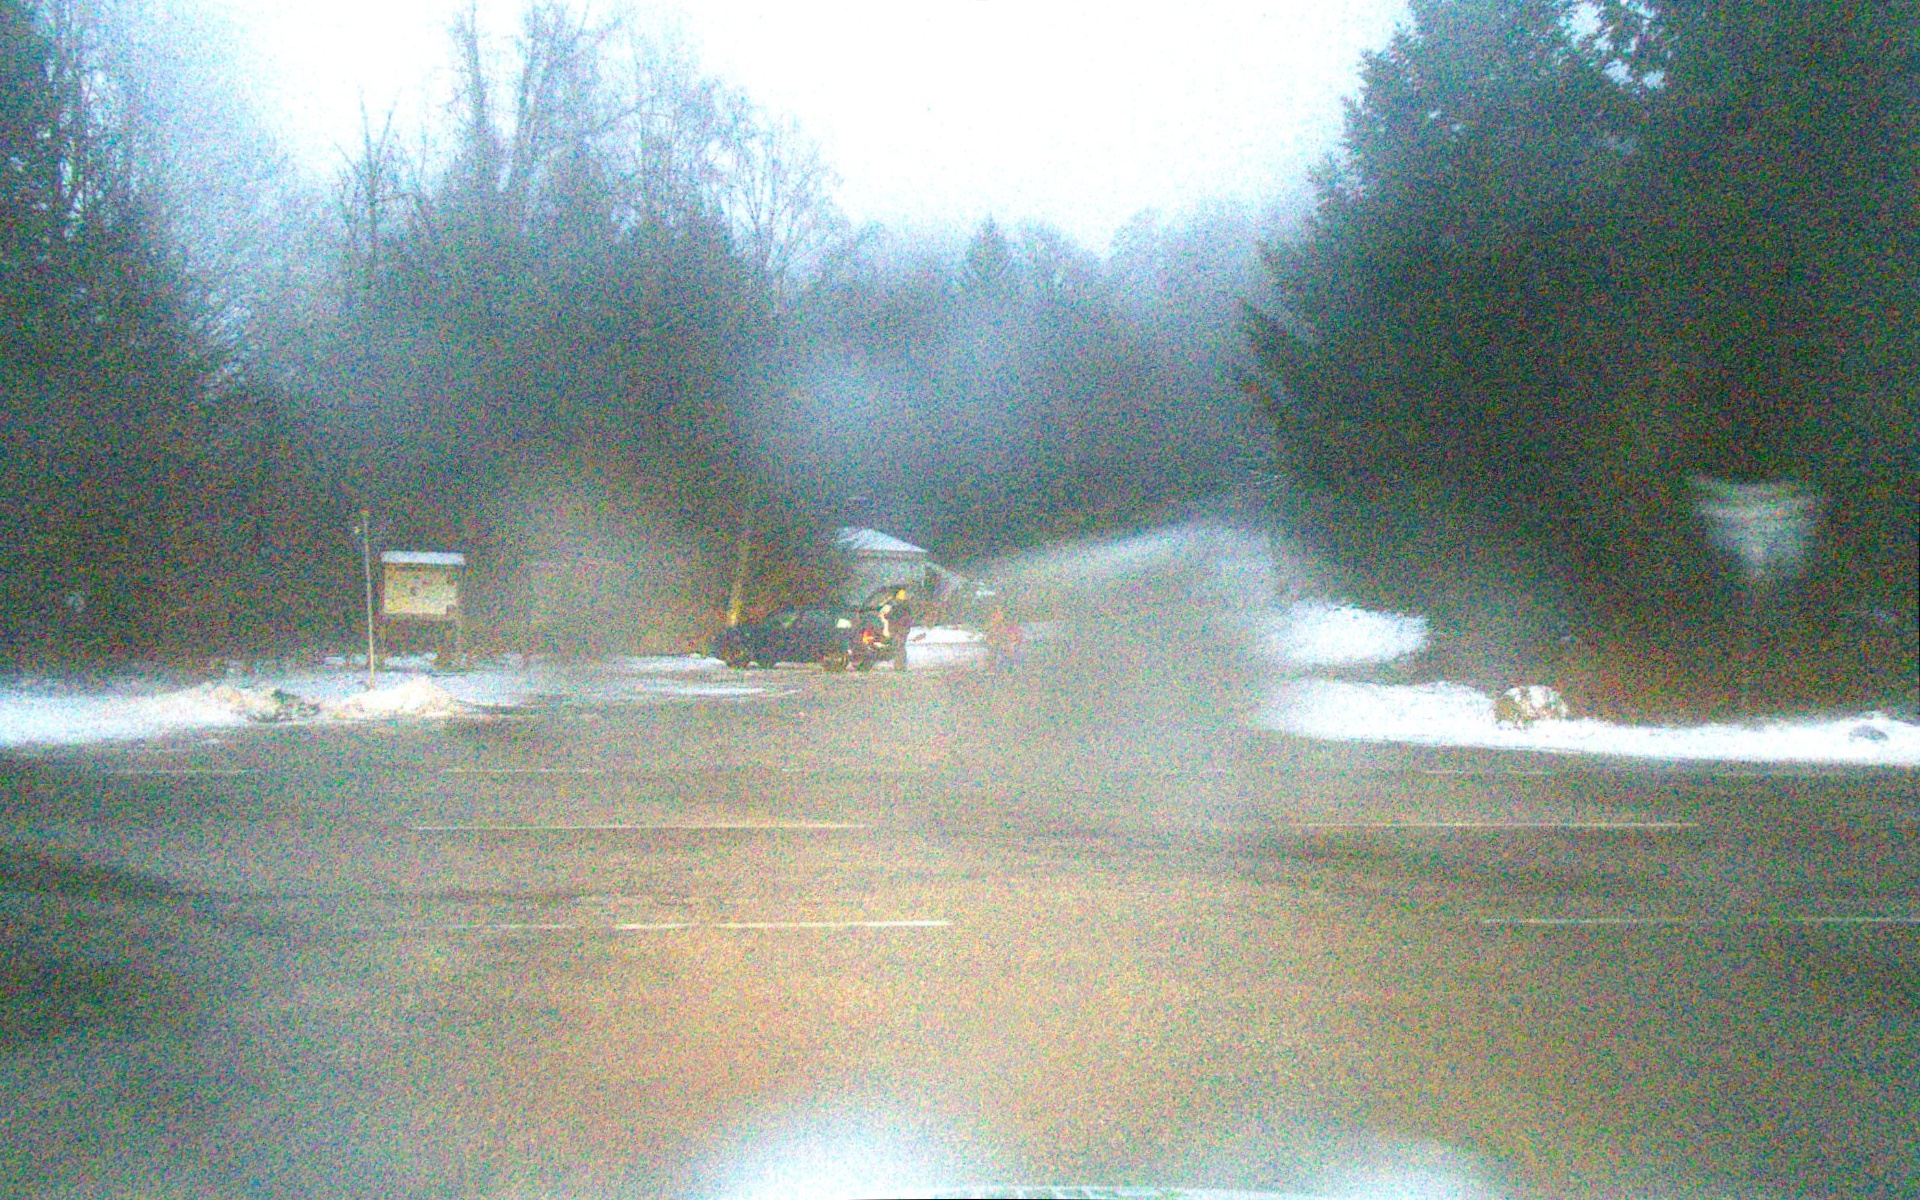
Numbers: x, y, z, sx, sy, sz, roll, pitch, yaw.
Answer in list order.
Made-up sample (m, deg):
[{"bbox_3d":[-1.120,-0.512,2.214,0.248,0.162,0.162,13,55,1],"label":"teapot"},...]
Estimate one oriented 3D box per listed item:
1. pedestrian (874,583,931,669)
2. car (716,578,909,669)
[{"bbox_3d":[-1.260,0.577,36.445,0.941,1.860,0.925,1,-1,20],"label":"pedestrian"},{"bbox_3d":[-3.312,0.534,37.548,3.863,1.914,2.001,1,-1,16],"label":"car"}]
